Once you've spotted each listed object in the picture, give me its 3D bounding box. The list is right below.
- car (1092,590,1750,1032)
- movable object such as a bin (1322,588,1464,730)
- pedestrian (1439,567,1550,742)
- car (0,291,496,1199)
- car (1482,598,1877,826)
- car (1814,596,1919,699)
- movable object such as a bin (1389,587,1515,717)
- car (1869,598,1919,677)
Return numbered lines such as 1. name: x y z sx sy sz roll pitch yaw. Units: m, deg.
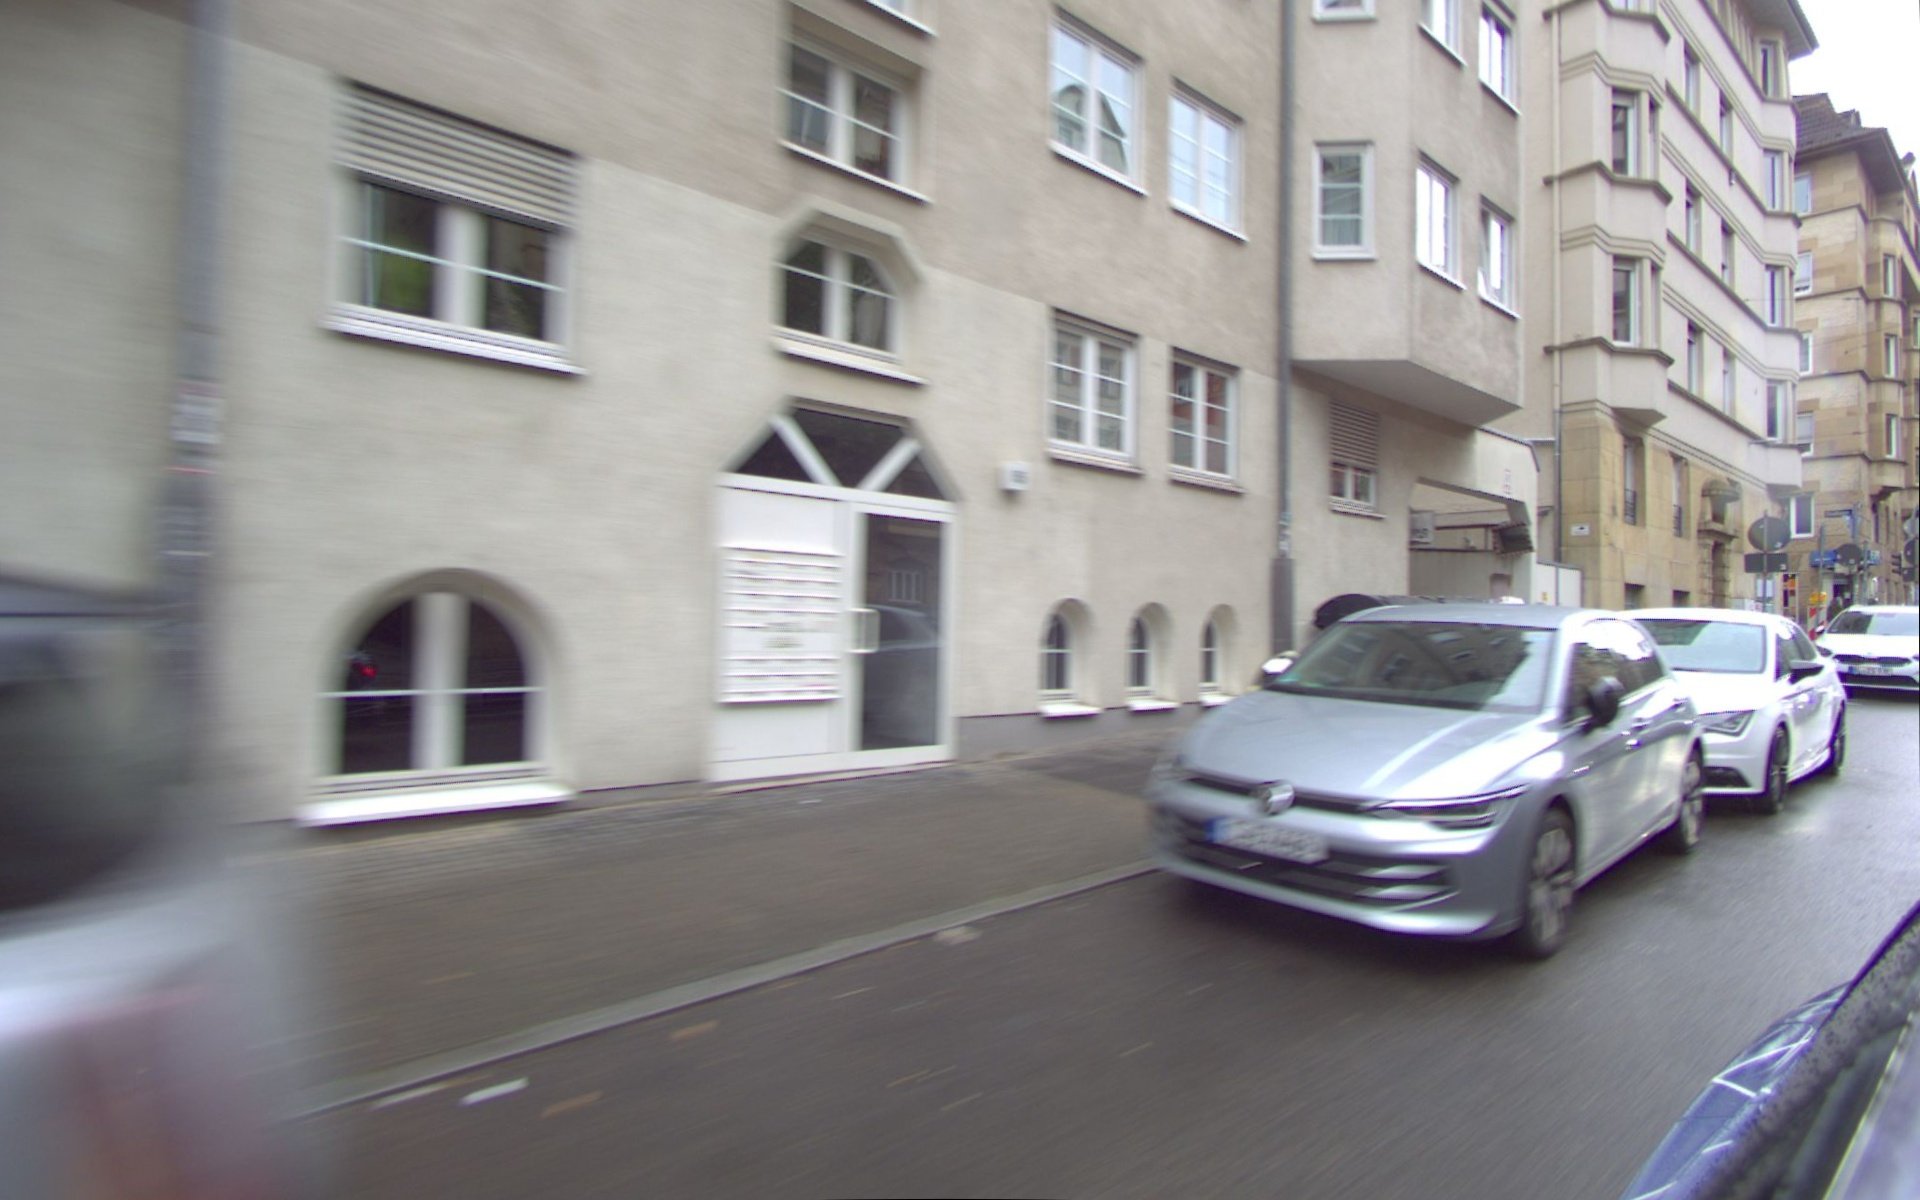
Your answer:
1. car: 2.819 0.705 5.624 4.302 1.486 1.834 -1 1 -43
2. movable object such as a bin: 4.892 0.606 11.431 1.300 1.486 1.020 -1 1 -41
3. pedestrian: 5.514 0.526 10.450 0.741 1.708 0.806 0 0 -41
4. car: -2.846 0.594 0.265 4.674 1.628 1.845 -1 1 -39
5. car: 6.284 0.719 8.633 4.318 1.403 1.792 -1 1 -41
6. car: 15.980 0.709 17.038 4.690 1.486 1.715 -1 1 -40
7. movable object such as a bin: 6.018 0.587 12.375 1.250 1.486 0.981 -1 1 -41
8. car: 19.994 0.711 20.457 4.731 1.428 1.714 -1 1 -39
